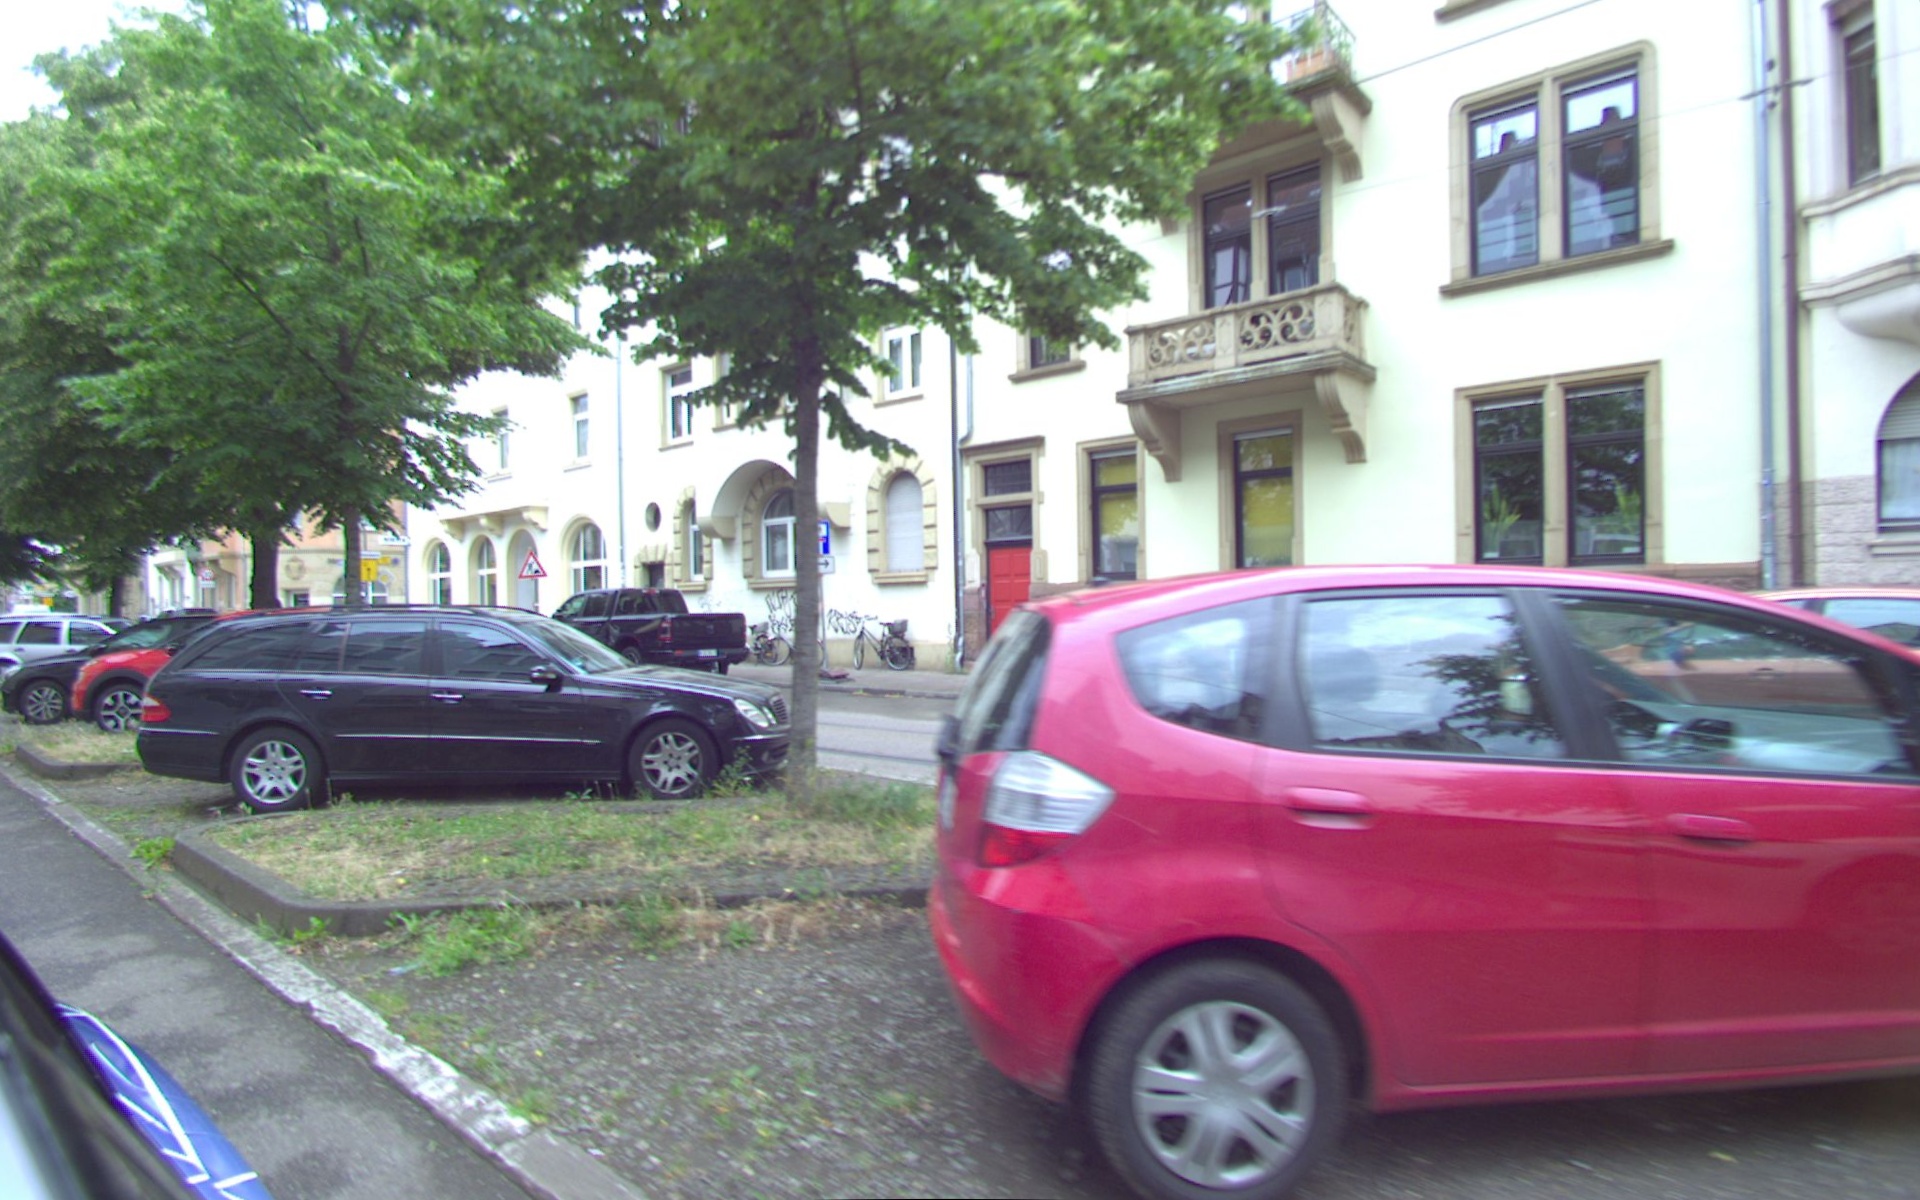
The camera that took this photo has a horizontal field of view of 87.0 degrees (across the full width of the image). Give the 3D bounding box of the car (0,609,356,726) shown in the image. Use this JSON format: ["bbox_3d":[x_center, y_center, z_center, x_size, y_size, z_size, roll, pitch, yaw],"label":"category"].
[{"bbox_3d":[-11.341,0.941,14.742,3.939,1.478,1.900,-1,-2,-5],"label":"car"}]

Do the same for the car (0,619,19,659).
[{"bbox_3d":[-40.670,1.633,40.550,3.931,1.624,1.904,-1,-2,-18],"label":"car"}]

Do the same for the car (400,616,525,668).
[{"bbox_3d":[-12.762,1.048,25.909,3.377,1.185,1.619,-1,0,39],"label":"car"}]

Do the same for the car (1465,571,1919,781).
[{"bbox_3d":[6.837,0.567,8.680,4.189,1.534,1.833,-2,-1,39],"label":"car"}]

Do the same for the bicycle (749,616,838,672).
[{"bbox_3d":[-3.610,0.949,21.879,1.908,1.135,0.607,-2,2,30],"label":"bicycle"}]

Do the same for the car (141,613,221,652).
[{"bbox_3d":[-34.400,1.407,44.652,4.508,1.617,1.773,-1,0,39],"label":"car"}]

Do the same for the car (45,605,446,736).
[{"bbox_3d":[-8.680,0.830,12.588,3.680,1.399,1.792,-1,-2,-5],"label":"car"}]

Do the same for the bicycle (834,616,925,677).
[{"bbox_3d":[-1.631,0.911,20.276,1.915,1.135,0.605,-2,2,41],"label":"bicycle"}]

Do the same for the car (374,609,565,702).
[{"bbox_3d":[-9.486,0.999,19.375,4.695,1.520,1.740,-2,0,44],"label":"car"}]

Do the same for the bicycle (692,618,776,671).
[{"bbox_3d":[-5.186,1.014,23.215,1.908,1.135,0.607,-2,2,30],"label":"bicycle"}]

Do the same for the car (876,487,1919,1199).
[{"bbox_3d":[1.687,0.545,2.813,3.756,1.538,1.677,-3,1,-4],"label":"car"}]

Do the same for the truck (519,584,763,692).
[{"bbox_3d":[-6.620,0.711,20.489,6.066,1.870,2.121,-2,0,45],"label":"truck"}]

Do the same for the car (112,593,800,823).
[{"bbox_3d":[-3.668,0.751,8.086,4.539,1.477,1.887,-1,0,-3],"label":"car"}]

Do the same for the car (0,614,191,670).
[{"bbox_3d":[-24.404,1.174,28.656,3.931,1.426,1.904,-1,-2,-28],"label":"car"}]

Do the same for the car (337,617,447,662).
[{"bbox_3d":[-16.288,1.103,28.985,3.377,1.185,1.619,-1,0,39],"label":"car"}]

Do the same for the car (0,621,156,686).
[{"bbox_3d":[-22.033,1.287,24.228,3.935,1.426,1.902,-1,-2,-11],"label":"car"}]

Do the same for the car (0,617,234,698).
[{"bbox_3d":[-16.879,1.107,19.802,3.935,1.426,1.902,-1,-2,-11],"label":"car"}]

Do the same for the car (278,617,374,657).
[{"bbox_3d":[-20.502,1.170,32.684,3.377,1.185,1.619,-1,0,39],"label":"car"}]
